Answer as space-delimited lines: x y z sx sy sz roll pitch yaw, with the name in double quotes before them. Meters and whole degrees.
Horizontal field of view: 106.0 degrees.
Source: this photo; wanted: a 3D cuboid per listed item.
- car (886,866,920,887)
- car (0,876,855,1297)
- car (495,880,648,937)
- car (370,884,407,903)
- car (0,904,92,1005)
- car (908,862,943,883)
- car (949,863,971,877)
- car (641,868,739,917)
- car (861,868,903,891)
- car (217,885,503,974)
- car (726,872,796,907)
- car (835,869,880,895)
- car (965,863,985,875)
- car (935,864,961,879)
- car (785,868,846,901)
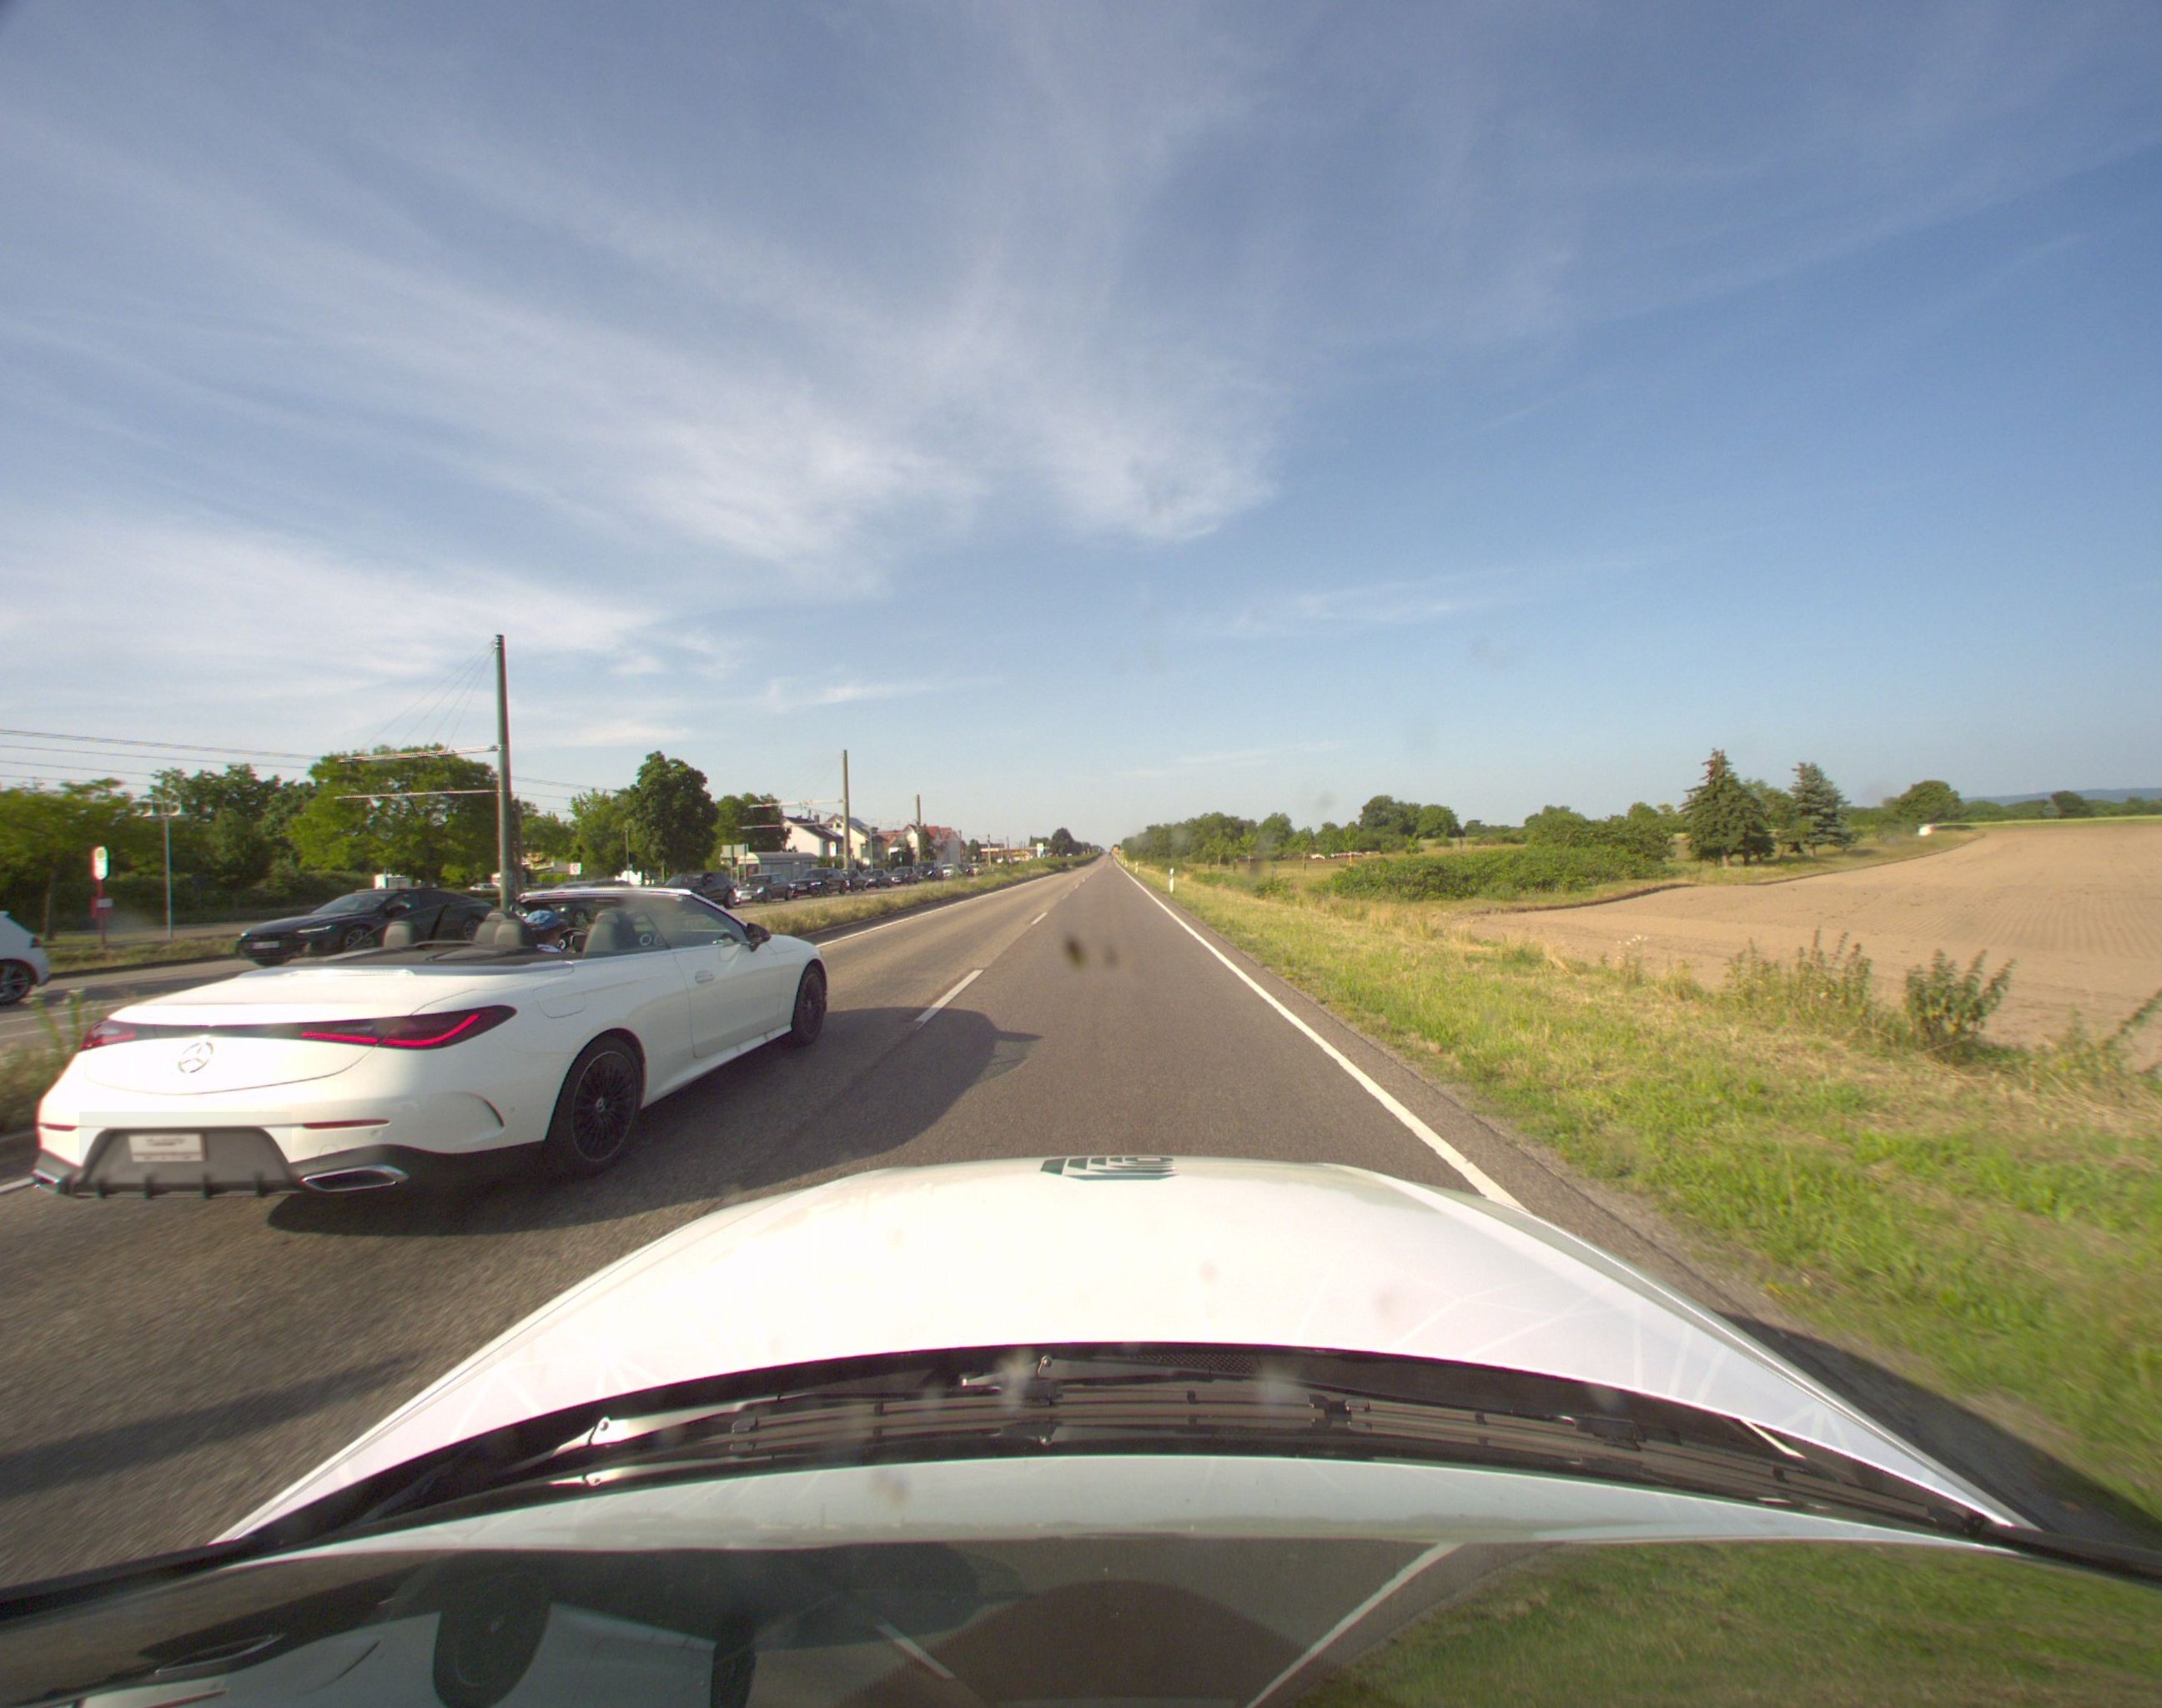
"car" -14.159 1.766 64.991 1.654 1.431 4.058 -3 0 2
"car" -3.136 0.865 5.293 1.764 1.337 4.953 0 0 2
"car" -15.427 1.588 24.990 1.654 1.381 4.543 -3 0 2
"car" -60.530 3.434 71.152 3.575 1.366 1.746 -5 -1 39
"car" -16.281 1.501 10.414 1.654 1.381 4.470 -3 0 2
"car" -13.902 1.619 73.098 1.908 1.683 5.256 -3 0 2
"car" -13.551 1.738 91.553 1.654 1.431 4.328 -3 0 2
"car" -15.464 1.477 32.449 1.654 1.687 4.230 -3 0 2
"car" -14.225 1.797 58.405 1.654 1.431 4.719 -3 0 2
"car" -15.348 1.513 17.825 1.654 1.415 4.977 -3 0 2
"car" -15.156 1.643 38.750 1.654 1.431 3.806 -3 0 2
"car" -14.244 1.778 52.043 1.654 1.431 3.806 -3 0 2
"car" -13.158 1.840 100.987 1.654 1.431 4.328 -3 0 2
"car" -13.359 1.744 81.999 1.654 1.431 4.450 -3 0 2
"car" -14.576 1.631 44.970 1.654 1.562 4.547 -3 0 2
